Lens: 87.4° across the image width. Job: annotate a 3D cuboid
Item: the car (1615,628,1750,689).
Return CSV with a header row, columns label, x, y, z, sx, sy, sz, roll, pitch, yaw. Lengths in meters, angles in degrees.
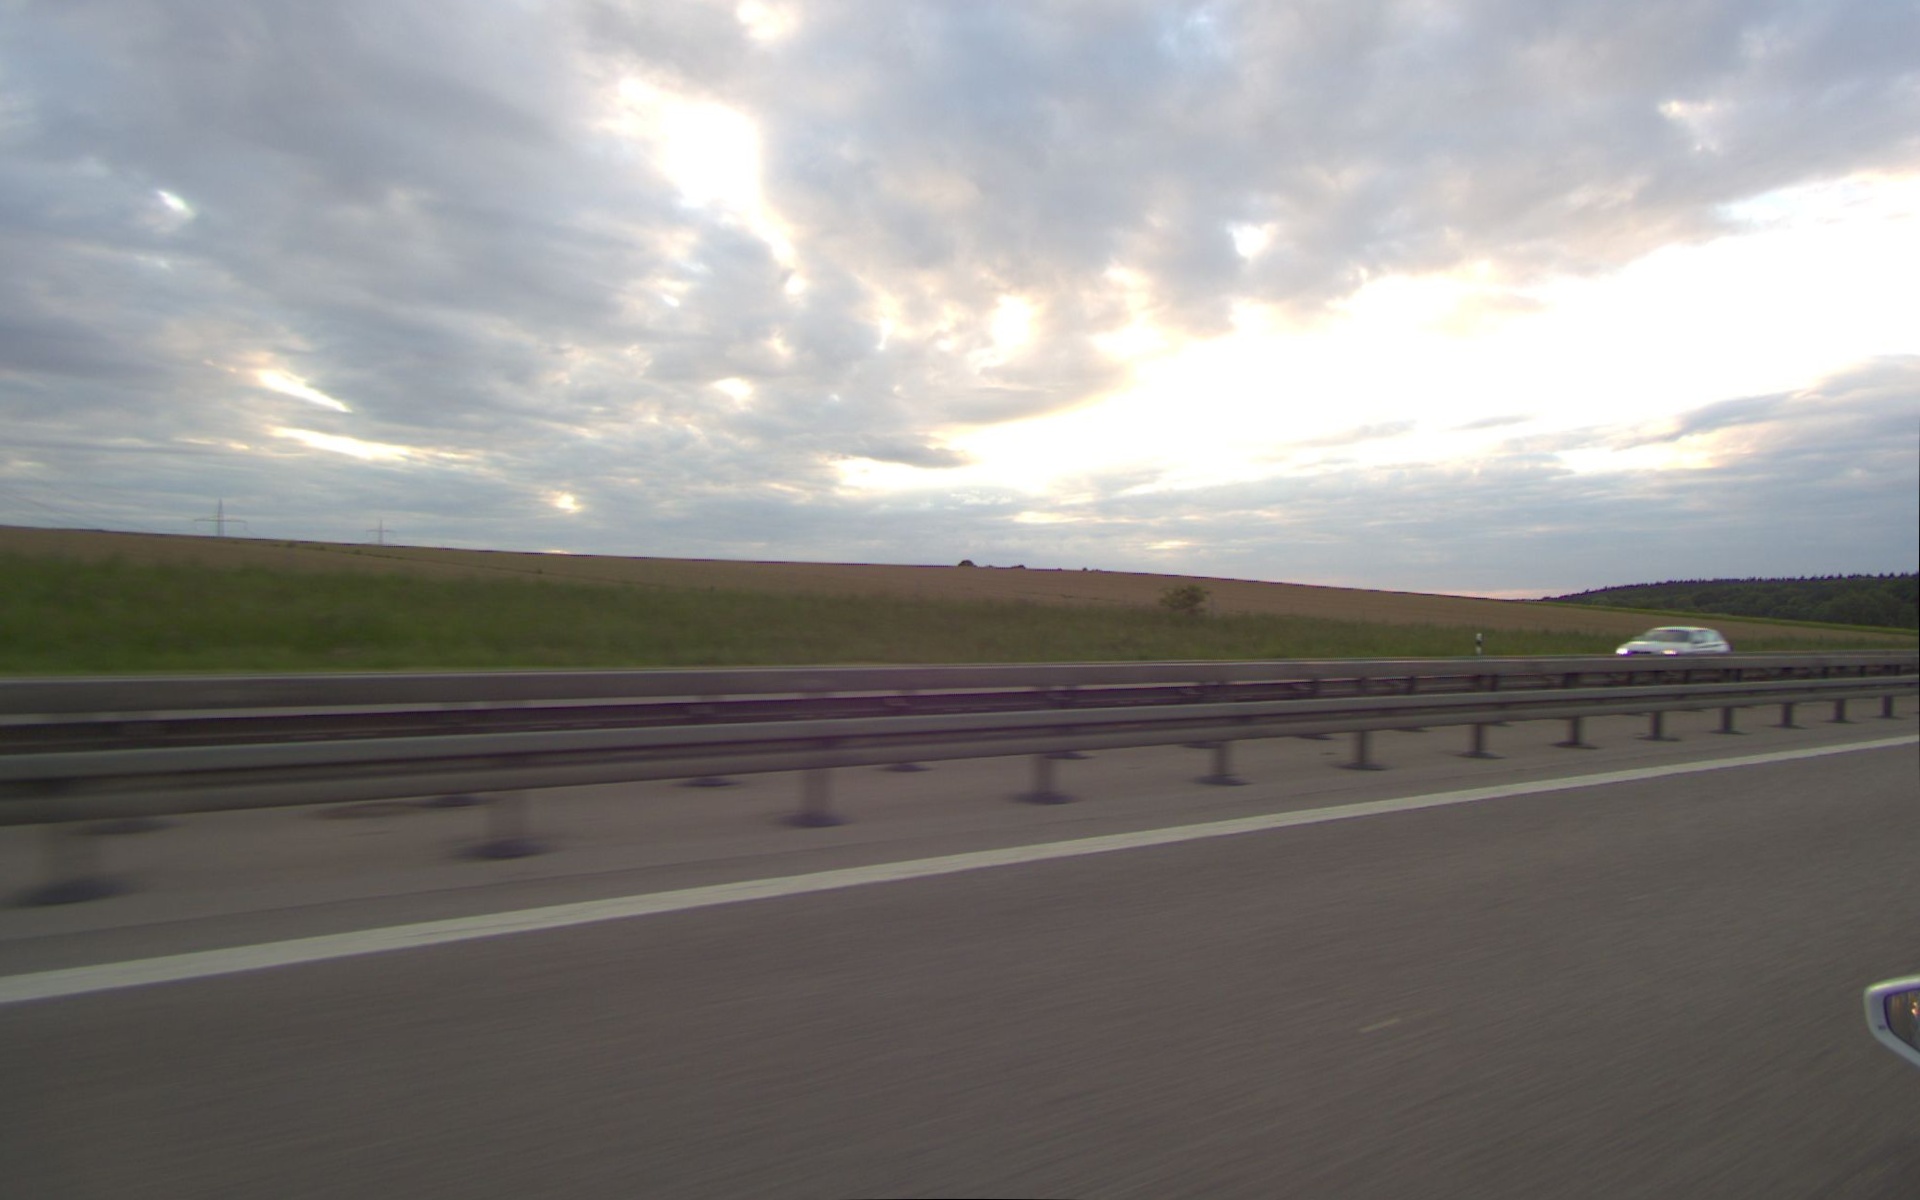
label,x,y,z,sx,sy,sz,roll,pitch,yaw
car,23.036,1.806,31.981,4.536,1.722,1.781,1,1,-31
